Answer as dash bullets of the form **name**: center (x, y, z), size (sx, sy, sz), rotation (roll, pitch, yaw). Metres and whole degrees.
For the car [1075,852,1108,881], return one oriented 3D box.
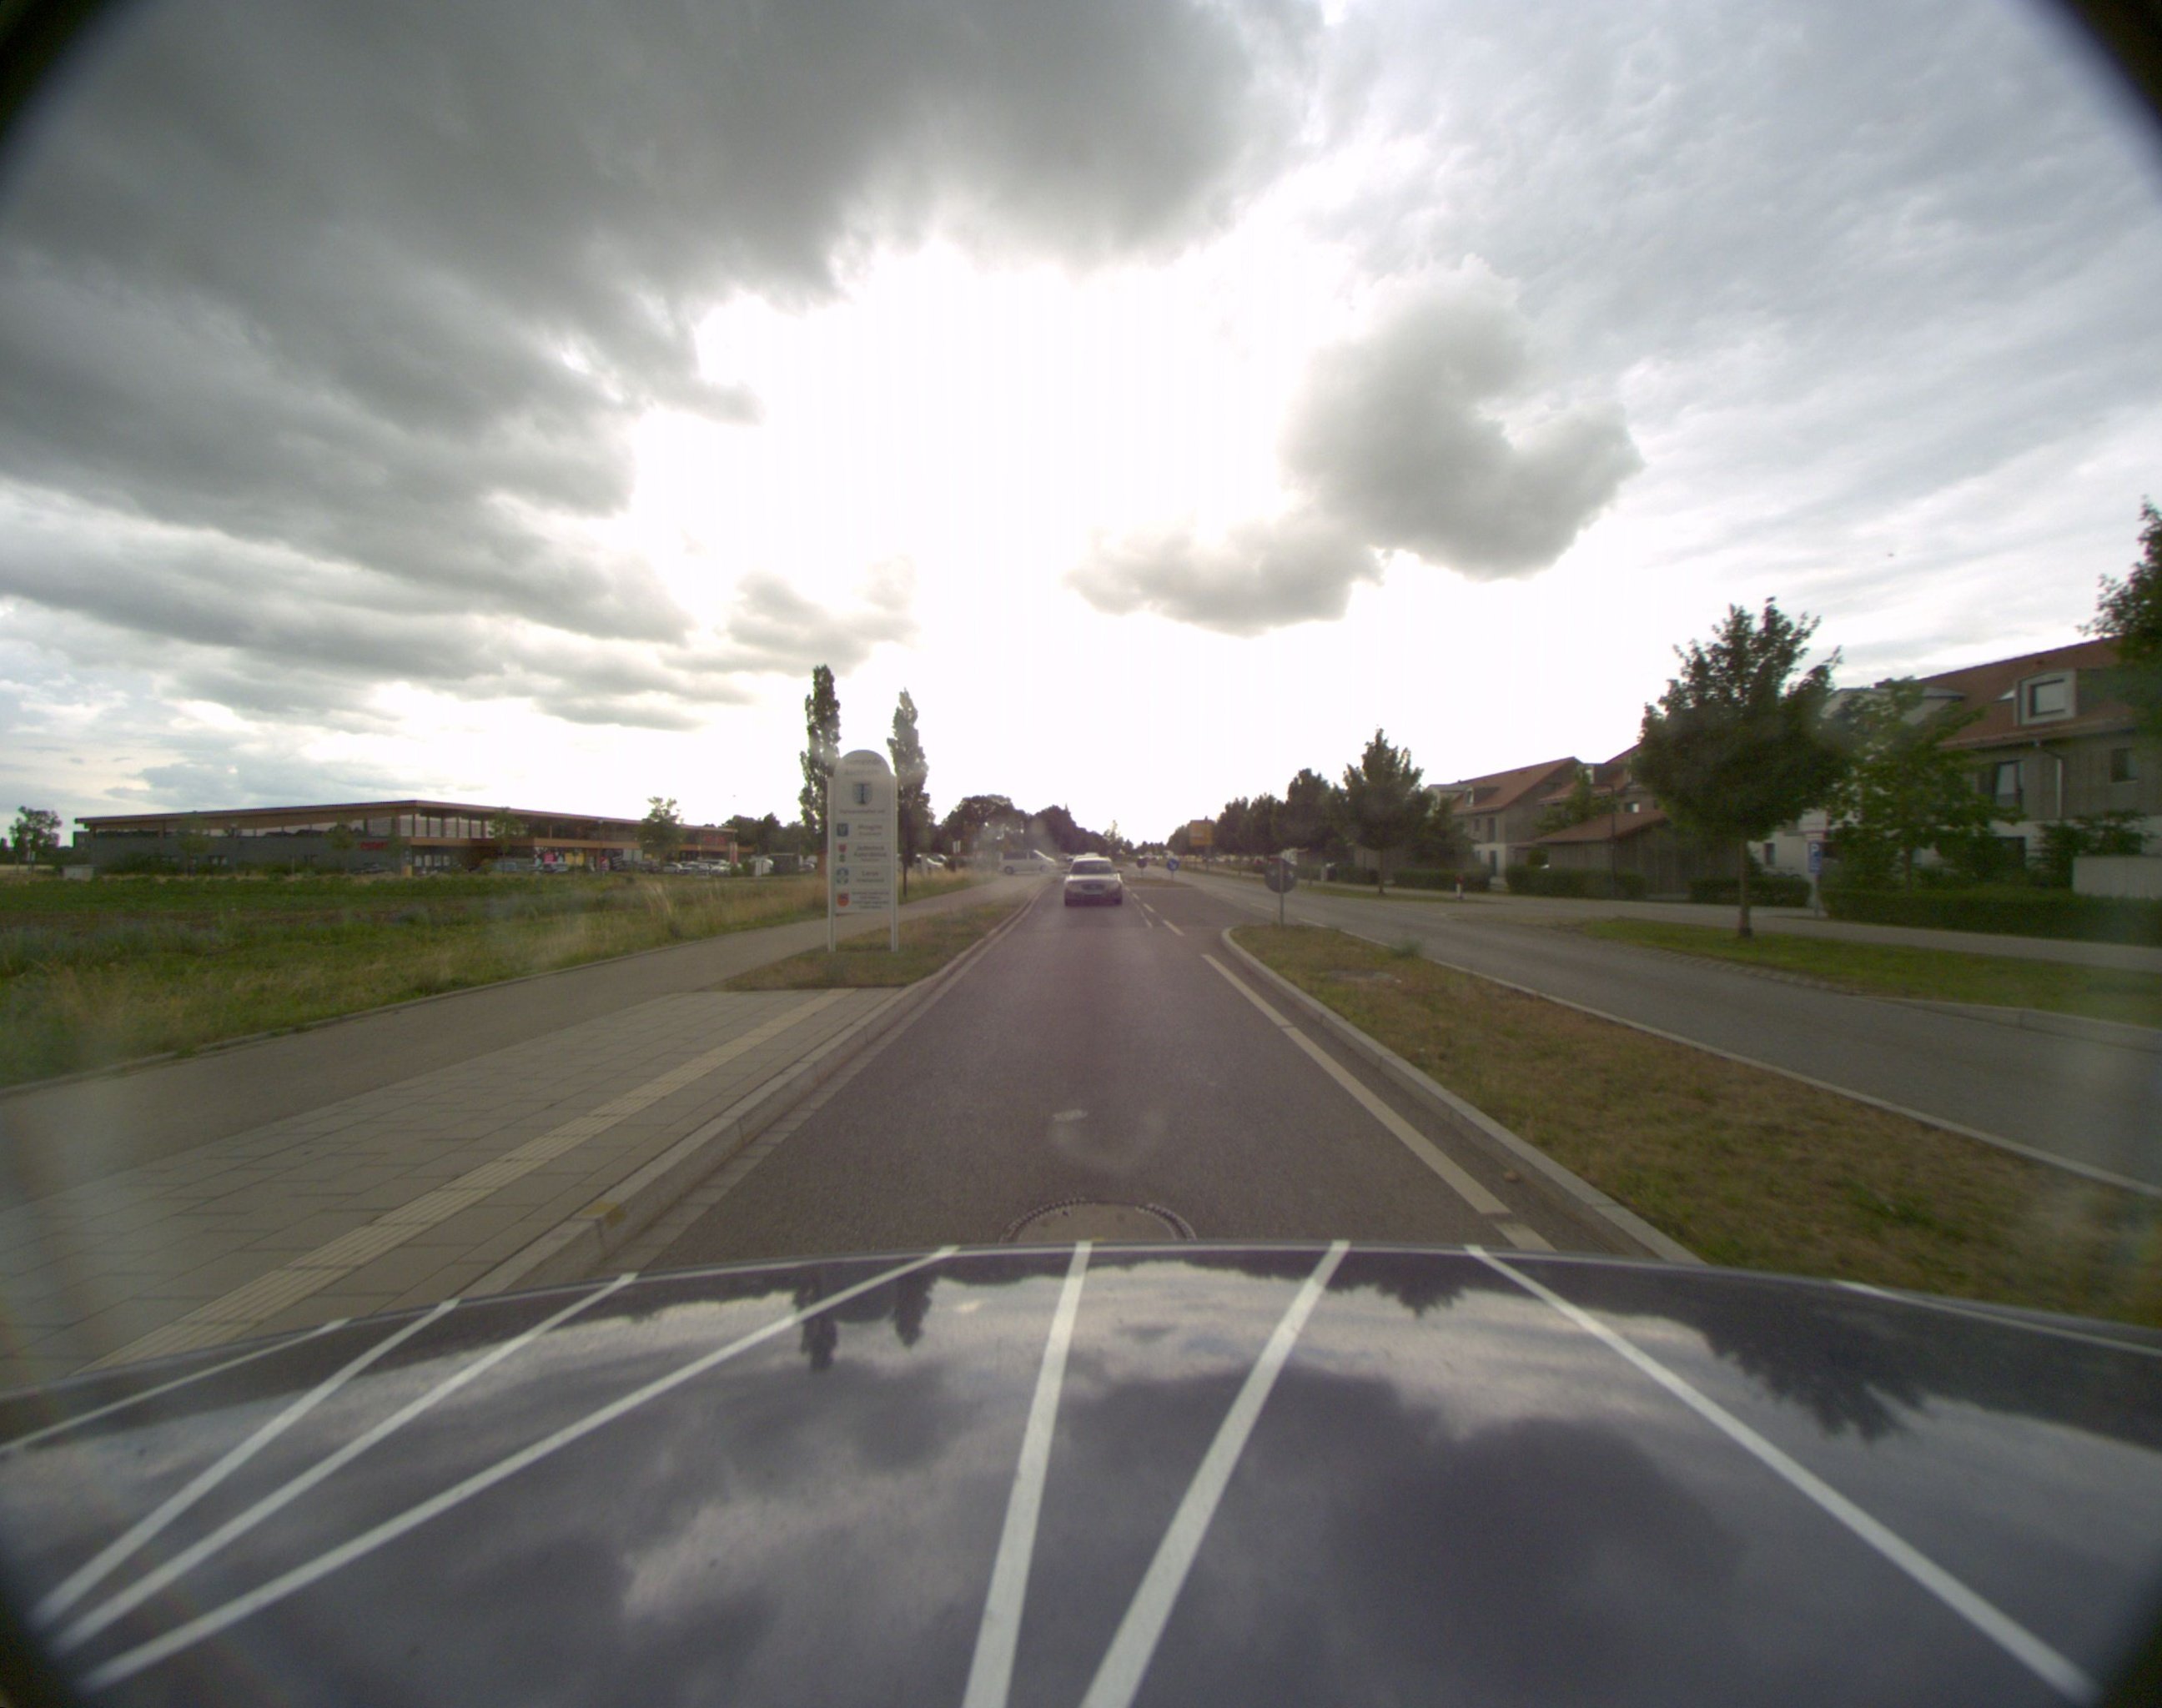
- **car**: center (0.589, 0.671, 44.361), size (1.763, 1.495, 4.690), rotation (-2, 1, 1)

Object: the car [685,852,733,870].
- **car**: center (-46.601, 0.854, 95.233), size (4.858, 2.002, 1.998), rotation (-2, 1, -7)

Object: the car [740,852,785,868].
- **car**: center (-46.167, 0.845, 110.136), size (5.527, 2.002, 1.999), rotation (-2, 1, -5)

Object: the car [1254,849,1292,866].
- **car**: center (25.361, 0.433, 100.275), size (4.568, 2.002, 2.000), rotation (-2, 1, 5)

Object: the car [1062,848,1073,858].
- **car**: center (-2.682, -0.237, 152.085), size (1.998, 2.002, 4.000), rotation (-1, 0, 1)

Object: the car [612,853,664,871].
- **car**: center (-53.348, 0.959, 91.550), size (4.858, 2.002, 1.998), rotation (-2, 1, -7)

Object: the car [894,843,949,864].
- **car**: center (-16.988, -0.069, 81.063), size (5.527, 2.002, 1.999), rotation (-2, 1, -5)

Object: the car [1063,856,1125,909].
- **car**: center (0.475, 0.842, 24.413), size (1.763, 1.410, 4.520), rotation (-2, 1, 3)

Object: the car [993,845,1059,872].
- **car**: center (-4.680, 0.370, 65.087), size (5.313, 2.002, 2.562), rotation (-2, 1, 2)

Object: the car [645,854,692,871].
- **car**: center (-53.296, 1.065, 98.304), size (4.858, 2.002, 1.998), rotation (-2, 1, -7)

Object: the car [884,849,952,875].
- **car**: center (-14.098, 0.636, 65.841), size (5.313, 2.002, 2.000), rotation (-2, 1, 2)
